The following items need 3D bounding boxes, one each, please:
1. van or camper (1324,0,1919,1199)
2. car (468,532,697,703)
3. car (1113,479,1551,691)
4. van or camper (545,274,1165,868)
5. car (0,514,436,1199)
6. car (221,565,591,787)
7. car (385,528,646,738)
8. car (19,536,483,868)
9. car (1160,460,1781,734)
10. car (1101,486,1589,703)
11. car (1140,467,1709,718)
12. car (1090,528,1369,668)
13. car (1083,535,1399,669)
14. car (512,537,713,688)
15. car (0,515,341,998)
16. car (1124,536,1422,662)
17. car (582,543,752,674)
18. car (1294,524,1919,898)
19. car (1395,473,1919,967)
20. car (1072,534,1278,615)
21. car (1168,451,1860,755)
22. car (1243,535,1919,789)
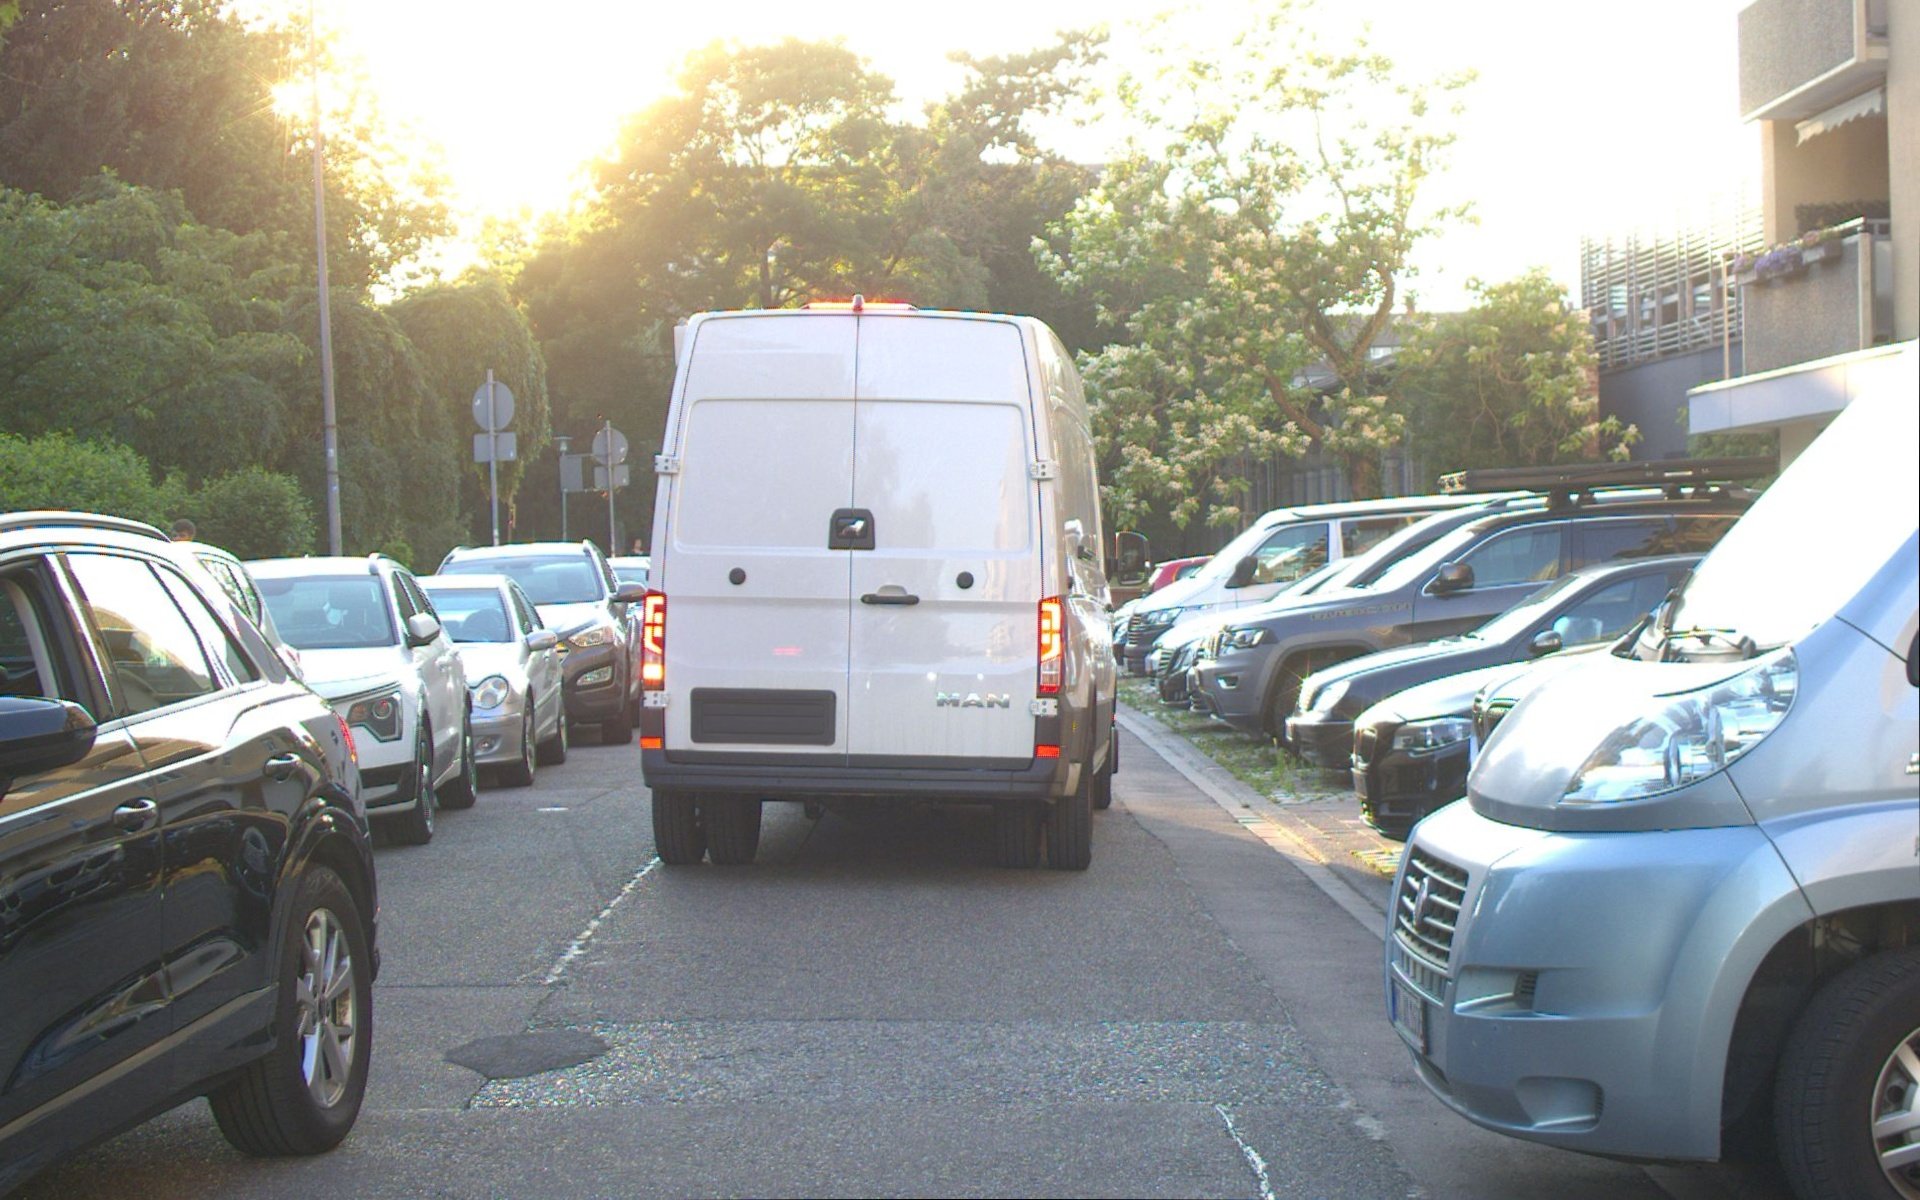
[{"bbox_3d":[3.938,-0.064,7.962,5.928,2.760,2.110,0,1,-1],"label":"van or camper"},{"bbox_3d":[-3.714,0.135,34.442,1.993,1.612,4.000,0,1,-2],"label":"car"},{"bbox_3d":[3.960,-0.173,37.201,4.495,2.223,2.032,0,1,-1],"label":"car"},{"bbox_3d":[-0.290,-0.180,17.964,2.454,2.538,6.082,1,1,5],"label":"van or camper"},{"bbox_3d":[-2.581,0.636,6.953,1.805,1.564,4.564,-1,1,7],"label":"car"},{"bbox_3d":[-3.761,0.467,24.015,1.993,1.393,4.000,0,1,-1],"label":"car"},{"bbox_3d":[-3.703,0.227,29.235,1.993,1.656,4.001,0,1,-4],"label":"car"},{"bbox_3d":[-3.761,0.467,18.916,1.856,1.549,4.100,-2,1,-3],"label":"car"},{"bbox_3d":[4.056,-0.046,27.910,4.705,2.138,2.000,0,1,-2],"label":"car"},{"bbox_3d":[3.856,-0.074,35.017,4.705,2.138,2.000,0,1,-2],"label":"car"},{"bbox_3d":[4.022,-0.088,30.337,4.705,2.138,2.000,0,1,-2],"label":"car"},{"bbox_3d":[3.908,-0.042,50.432,3.987,2.007,2.000,0,1,2],"label":"car"},{"bbox_3d":[3.641,0.008,45.073,3.987,1.722,2.000,0,1,0],"label":"car"},{"bbox_3d":[-3.859,0.104,38.755,1.993,1.612,4.000,0,1,-2],"label":"car"},{"bbox_3d":[-3.811,0.538,13.688,1.783,1.625,4.000,-3,1,2],"label":"car"},{"bbox_3d":[4.335,-0.033,48.110,3.987,1.722,2.000,0,1,0],"label":"car"},{"bbox_3d":[-3.737,0.074,44.475,1.993,1.612,4.000,0,1,-2],"label":"car"},{"bbox_3d":[3.718,0.431,15.940,3.986,1.449,1.836,-4,1,-4],"label":"car"},{"bbox_3d":[4.109,0.360,13.425,4.433,1.722,1.773,-2,1,-6],"label":"car"},{"bbox_3d":[4.384,-0.533,70.382,3.986,1.612,2.000,0,1,-4],"label":"car"},{"bbox_3d":[3.964,0.000,25.198,4.705,2.138,2.000,0,1,-2],"label":"car"},{"bbox_3d":[4.086,0.378,22.591,4.236,1.420,1.719,-2,1,-1],"label":"car"}]
